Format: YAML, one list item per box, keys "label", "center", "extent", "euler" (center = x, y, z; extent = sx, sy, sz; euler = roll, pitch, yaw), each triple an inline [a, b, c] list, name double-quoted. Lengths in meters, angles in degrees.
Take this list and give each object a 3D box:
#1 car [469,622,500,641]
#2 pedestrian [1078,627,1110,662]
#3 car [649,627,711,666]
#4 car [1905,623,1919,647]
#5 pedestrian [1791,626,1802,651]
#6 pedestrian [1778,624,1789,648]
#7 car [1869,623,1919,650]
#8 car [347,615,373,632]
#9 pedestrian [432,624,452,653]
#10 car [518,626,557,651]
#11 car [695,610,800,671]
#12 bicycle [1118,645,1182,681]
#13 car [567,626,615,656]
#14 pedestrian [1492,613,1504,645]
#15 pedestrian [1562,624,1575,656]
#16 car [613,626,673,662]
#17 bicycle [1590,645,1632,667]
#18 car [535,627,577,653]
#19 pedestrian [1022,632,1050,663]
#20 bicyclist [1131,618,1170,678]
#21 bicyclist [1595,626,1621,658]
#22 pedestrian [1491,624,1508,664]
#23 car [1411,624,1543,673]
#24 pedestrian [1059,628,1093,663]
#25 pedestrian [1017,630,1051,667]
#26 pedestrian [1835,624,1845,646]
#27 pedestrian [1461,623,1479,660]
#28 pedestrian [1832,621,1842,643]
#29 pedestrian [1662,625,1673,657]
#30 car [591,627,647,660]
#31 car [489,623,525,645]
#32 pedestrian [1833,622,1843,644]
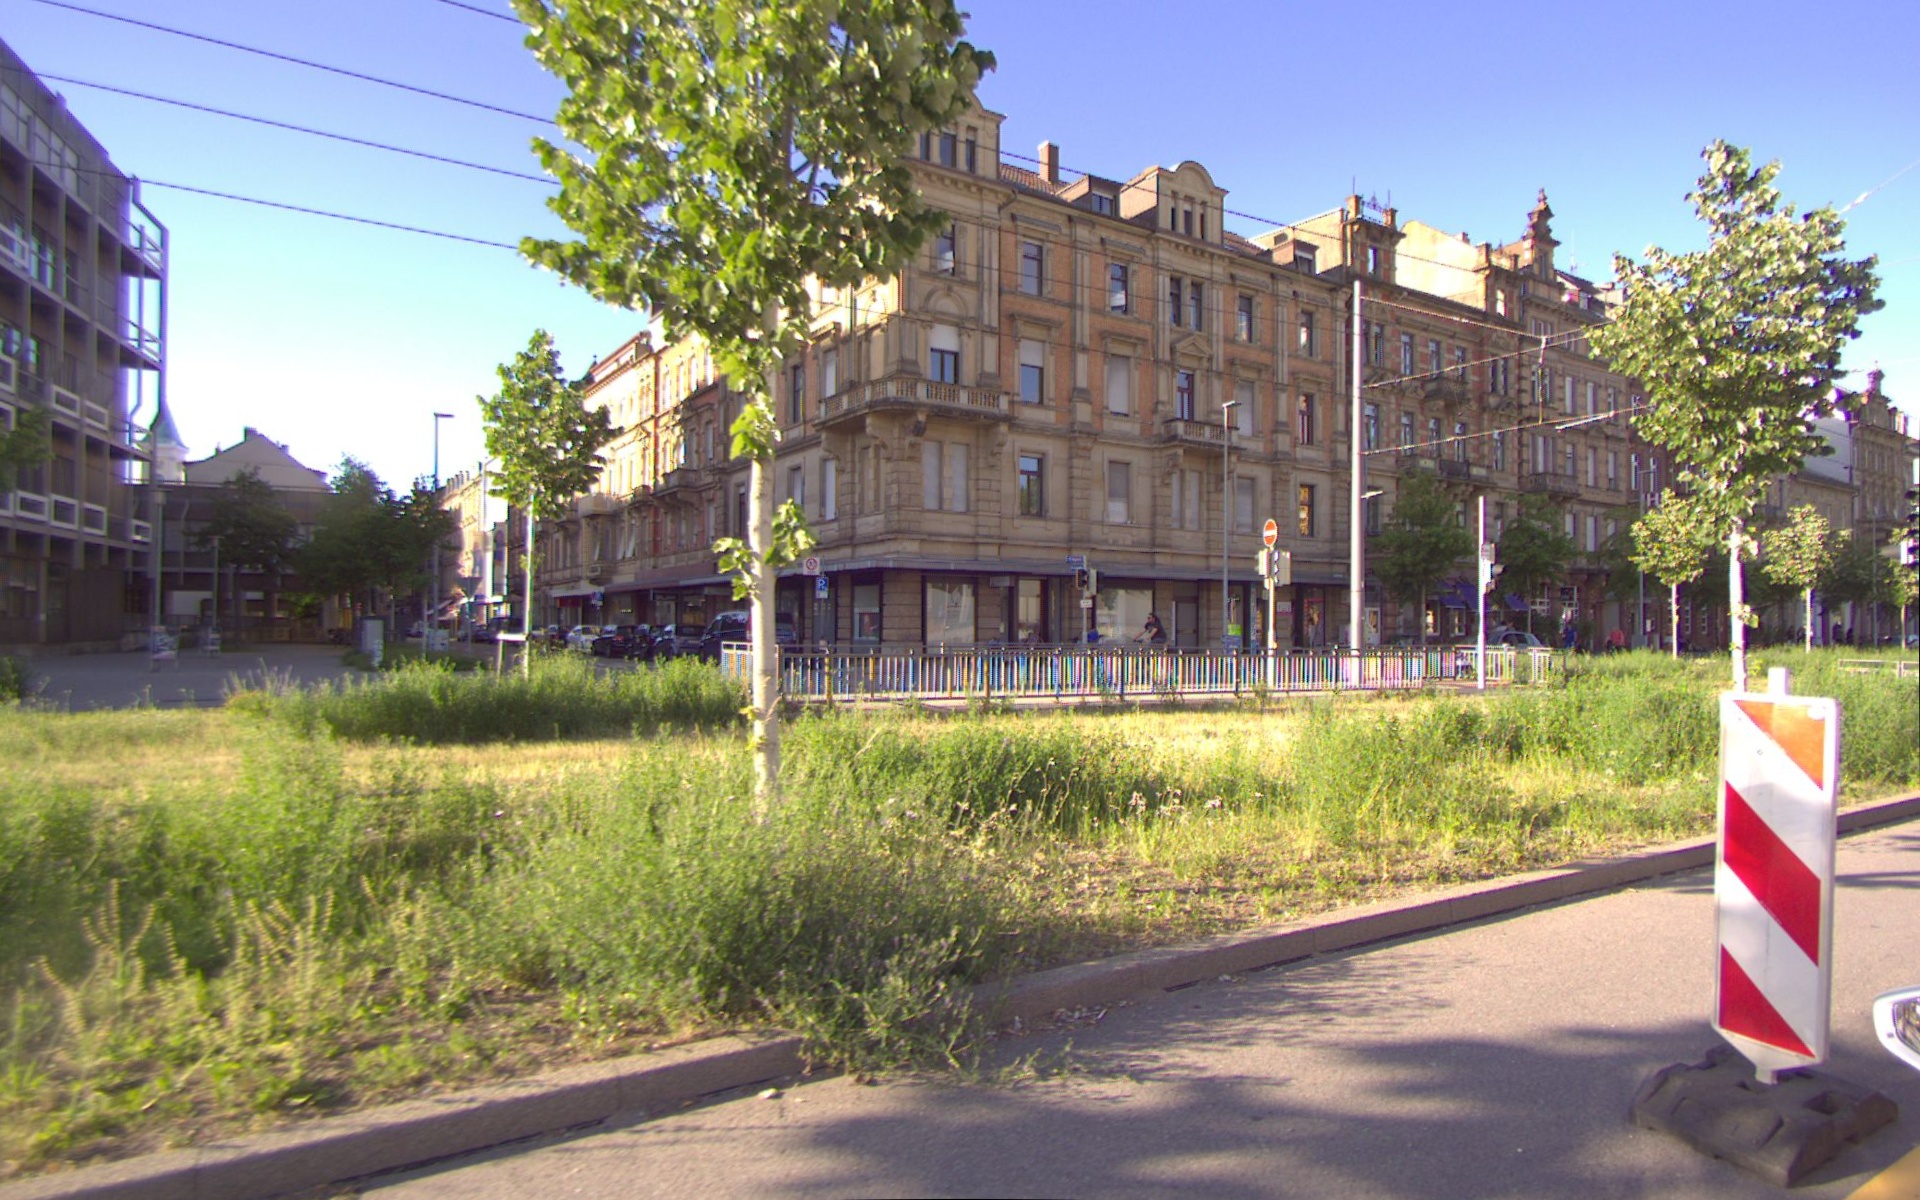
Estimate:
- label: "car"
  center: [-35.721, 2.362, 75.388]
  extent: [1.556, 1.397, 3.661]
  euler: [0, -1, -35]
- label: "pedestrian"
  center: [4.853, 1.599, 36.374]
  extent: [0.919, 1.224, 0.687]
  euler: [1, -1, -31]
- label: "car"
  center: [-11.052, 1.794, 39.510]
  extent: [1.370, 1.487, 3.123]
  euler: [1, -2, -36]
- label: "car"
  center: [64.827, 2.333, 66.970]
  extent: [4.663, 1.583, 1.558]
  euler: [1, -2, -33]
- label: "pedestrian"
  center: [56.049, 2.579, 67.320]
  extent: [0.335, 1.606, 0.426]
  euler: [1, 1, -30]
- label: "pedestrian"
  center: [55.723, 2.442, 67.981]
  extent: [0.381, 1.606, 0.431]
  euler: [1, 1, -34]
- label: "car"
  center: [58.834, 2.270, 63.122]
  extent: [3.767, 1.697, 1.558]
  euler: [1, -2, -33]
- label: "car"
  center: [-55.641, 2.174, 93.113]
  extent: [1.839, 1.595, 3.961]
  euler: [1, -2, -35]
- label: "pedestrian"
  center: [-27.660, 2.048, 53.634]
  extent: [0.607, 1.536, 0.733]
  euler: [-1, -2, 36]
- label: "car"
  center: [-25.148, 2.260, 59.693]
  extent: [1.490, 1.428, 3.016]
  euler: [1, -2, -36]
- label: "car"
  center: [-7.279, 1.358, 34.104]
  extent: [1.880, 1.928, 4.479]
  euler: [1, -2, -36]
- label: "bicycle"
  center: [5.431, 1.791, 28.685]
  extent: [1.806, 0.991, 0.691]
  euler: [1, -1, -31]
- label: "car"
  center: [-18.220, 2.025, 49.547]
  extent: [1.471, 1.427, 3.032]
  euler: [1, -2, -36]
- label: "pedestrian"
  center: [27.922, 1.495, 52.128]
  extent: [0.383, 1.606, 0.386]
  euler: [1, 1, -1]
- label: "pedestrian"
  center: [30.930, 2.011, 51.046]
  extent: [0.421, 1.606, 0.401]
  euler: [1, 1, -32]
- label: "car"
  center: [-13.429, 1.841, 42.517]
  extent: [1.565, 1.427, 3.032]
  euler: [1, -2, -36]
- label: "bicycle"
  center: [26.428, 2.272, 40.756]
  extent: [2.008, 0.869, 0.634]
  euler: [1, -1, -31]
- label: "car"
  center: [-22.214, 2.184, 55.211]
  extent: [1.471, 1.427, 3.032]
  euler: [1, -2, -36]
- label: "pedestrian"
  center: [2.709, 1.684, 35.920]
  extent: [0.727, 1.073, 0.687]
  euler: [1, -1, -31]
- label: "bicyclist"
  center: [5.453, 1.362, 28.727]
  extent: [0.872, 1.679, 0.691]
  euler: [1, -1, -31]
- label: "bicyclist"
  center: [26.193, 1.690, 40.596]
  extent: [0.730, 1.256, 0.634]
  euler: [1, -1, -31]
- label: "pedestrian"
  center: [24.819, 2.012, 46.223]
  extent: [0.402, 1.788, 0.505]
  euler: [1, 1, -32]
- label: "car"
  center: [16.152, 1.486, 31.322]
  extent: [4.023, 1.438, 1.844]
  euler: [1, -3, -31]
- label: "pedestrian"
  center: [4.076, 1.603, 35.406]
  extent: [0.919, 1.224, 0.787]
  euler: [1, -1, -31]
- label: "pedestrian"
  center: [2.551, 1.654, 34.643]
  extent: [0.919, 1.263, 0.687]
  euler: [1, -1, -31]
- label: "pedestrian"
  center: [64.729, 2.601, 73.881]
  extent: [0.431, 1.606, 0.457]
  euler: [1, 1, -39]
- label: "pedestrian"
  center: [22.547, 1.823, 44.433]
  extent: [0.527, 1.606, 0.484]
  euler: [1, 1, -32]
- label: "pedestrian"
  center: [61.962, 2.279, 70.988]
  extent: [0.430, 1.555, 0.403]
  euler: [1, 1, -32]
- label: "pedestrian"
  center: [39.963, 2.330, 56.724]
  extent: [0.402, 1.788, 0.365]
  euler: [1, 1, -32]
- label: "car"
  center: [-15.340, 1.924, 45.104]
  extent: [1.565, 1.427, 3.032]
  euler: [1, -2, -36]
- label: "car"
  center: [-30.690, 2.287, 68.000]
  extent: [1.584, 1.427, 3.328]
  euler: [1, -2, -36]
- label: "pedestrian"
  center: [61.984, 2.304, 70.886]
  extent: [0.430, 1.553, 0.403]
  euler: [1, 1, -32]
